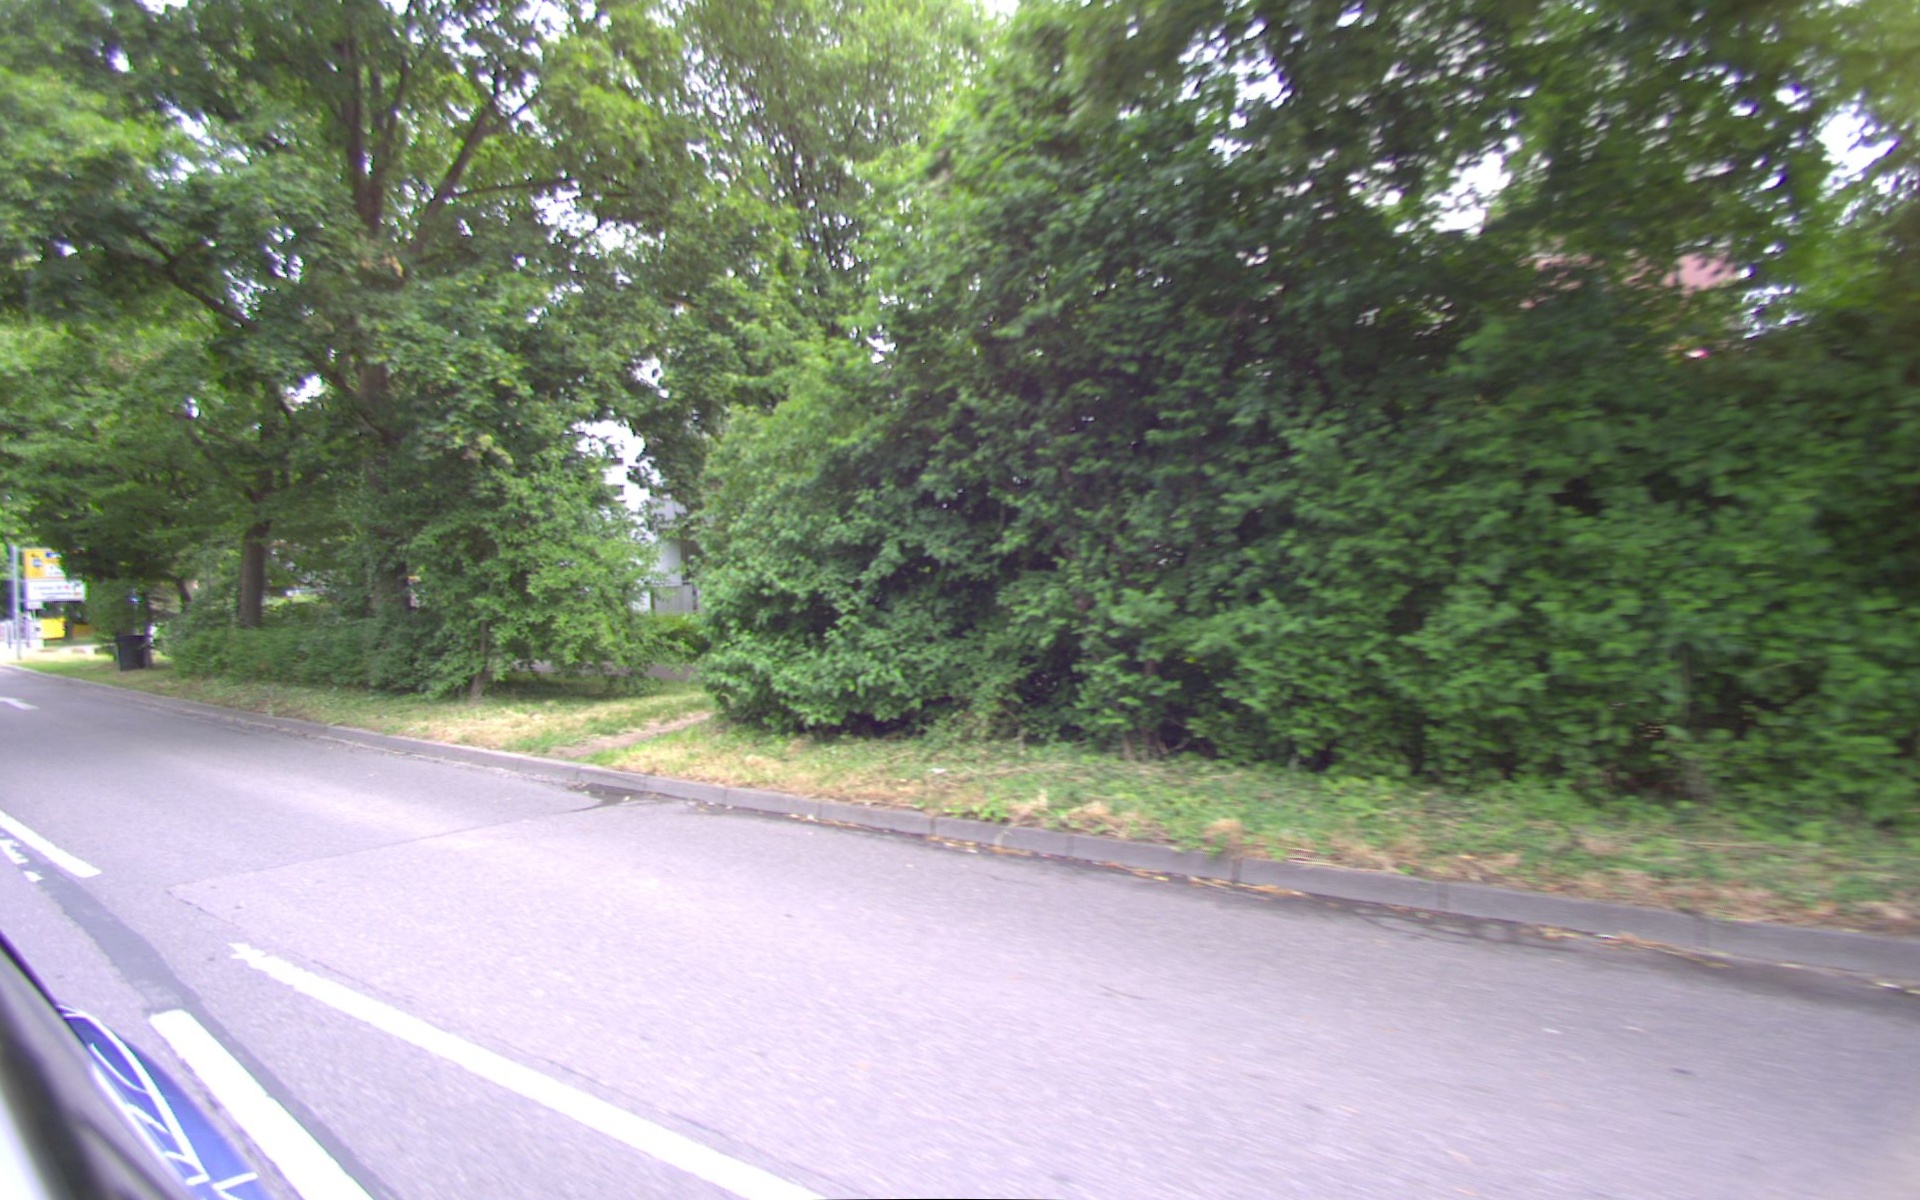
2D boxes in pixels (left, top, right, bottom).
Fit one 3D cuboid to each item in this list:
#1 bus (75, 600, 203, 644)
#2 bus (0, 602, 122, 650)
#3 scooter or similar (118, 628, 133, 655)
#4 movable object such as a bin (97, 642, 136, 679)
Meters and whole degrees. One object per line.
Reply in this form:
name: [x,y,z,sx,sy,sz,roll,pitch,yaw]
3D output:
bus: [-66.438,1.677,82.293,3.008,3.031,9.708,-4,1,-5]
bus: [-65.672,1.812,73.494,3.008,3.031,8.440,-4,1,-5]
scooter or similar: [-47.227,2.348,57.267,0.547,1.456,1.595,-5,2,-39]
movable object such as a bin: [-21.306,1.518,25.568,0.590,0.851,0.580,-5,2,-28]
